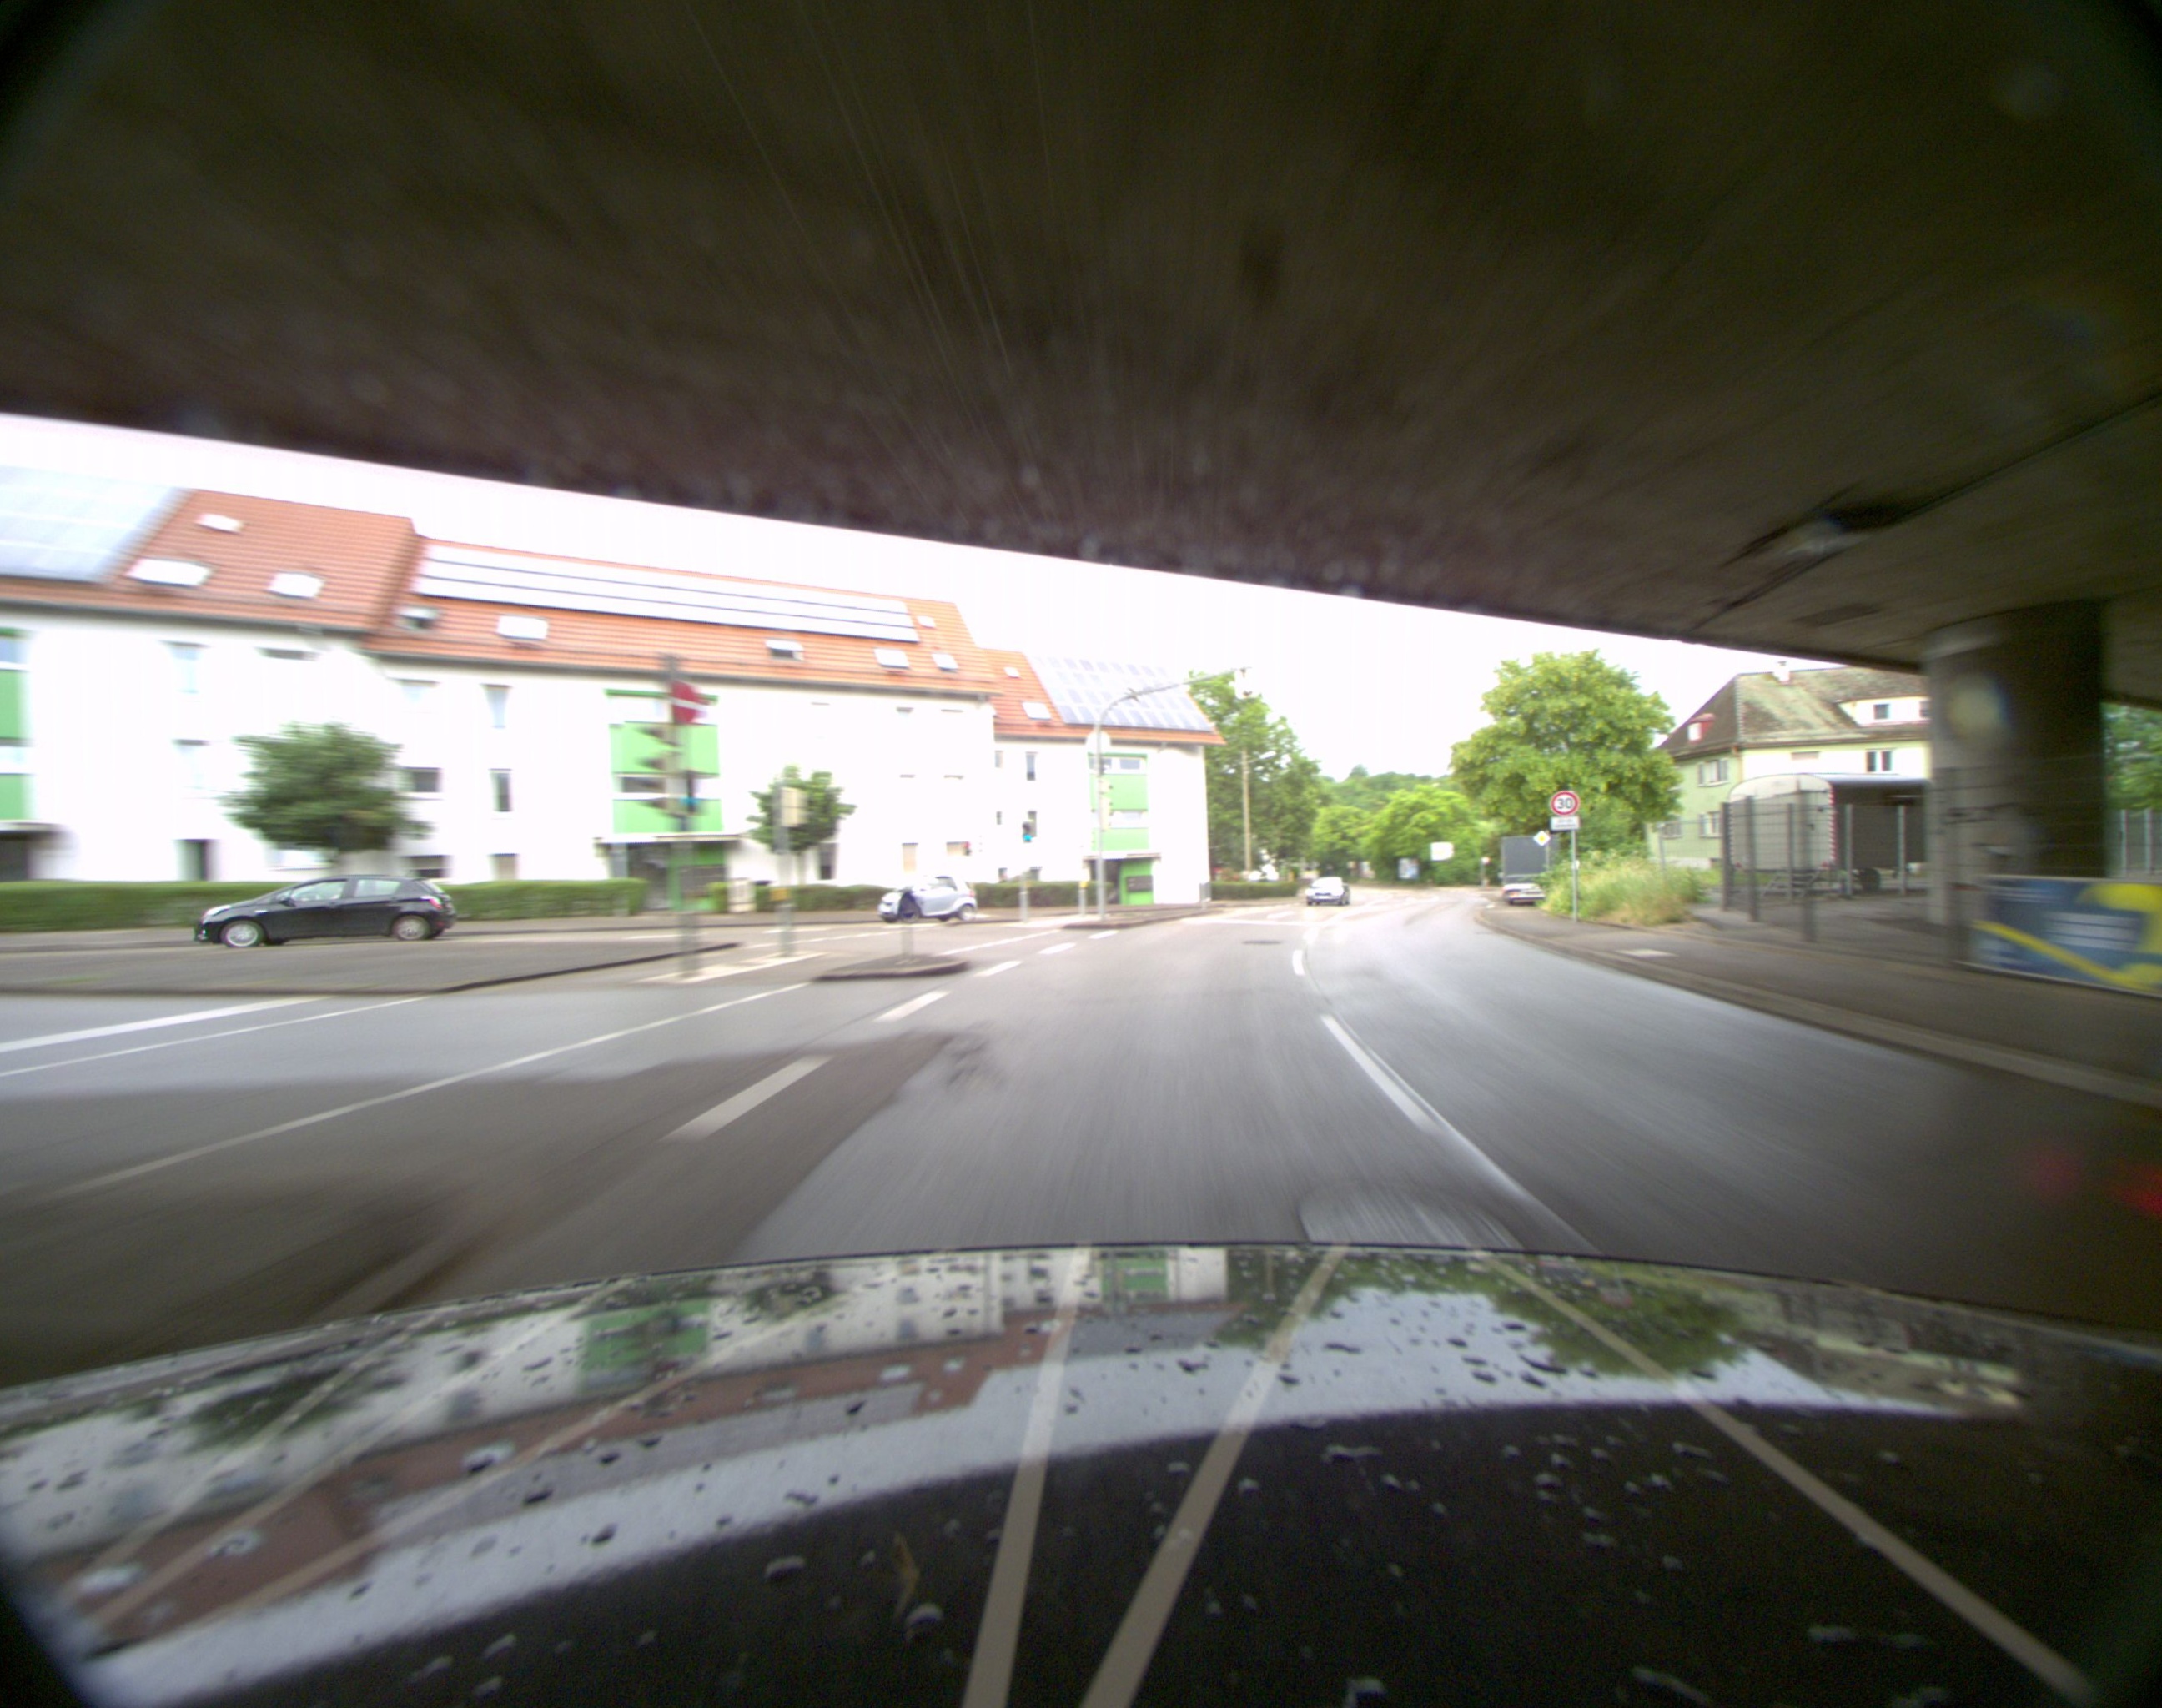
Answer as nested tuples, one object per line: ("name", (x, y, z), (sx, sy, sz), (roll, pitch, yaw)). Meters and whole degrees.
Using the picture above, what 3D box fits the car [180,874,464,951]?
("car", (-15.935, 1.190, 16.278), (4.007, 1.449, 1.642), (0, -3, -30))

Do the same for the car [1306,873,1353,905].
("car", (12.690, 1.769, 38.646), (1.704, 1.548, 4.008), (-2, -2, 25))

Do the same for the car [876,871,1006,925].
("car", (-4.349, 1.336, 23.792), (3.636, 1.548, 1.641), (1, -2, -38))

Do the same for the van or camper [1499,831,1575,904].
("van or camper", (22.861, 0.754, 38.443), (2.700, 3.314, 7.778), (-2, -2, 27))
